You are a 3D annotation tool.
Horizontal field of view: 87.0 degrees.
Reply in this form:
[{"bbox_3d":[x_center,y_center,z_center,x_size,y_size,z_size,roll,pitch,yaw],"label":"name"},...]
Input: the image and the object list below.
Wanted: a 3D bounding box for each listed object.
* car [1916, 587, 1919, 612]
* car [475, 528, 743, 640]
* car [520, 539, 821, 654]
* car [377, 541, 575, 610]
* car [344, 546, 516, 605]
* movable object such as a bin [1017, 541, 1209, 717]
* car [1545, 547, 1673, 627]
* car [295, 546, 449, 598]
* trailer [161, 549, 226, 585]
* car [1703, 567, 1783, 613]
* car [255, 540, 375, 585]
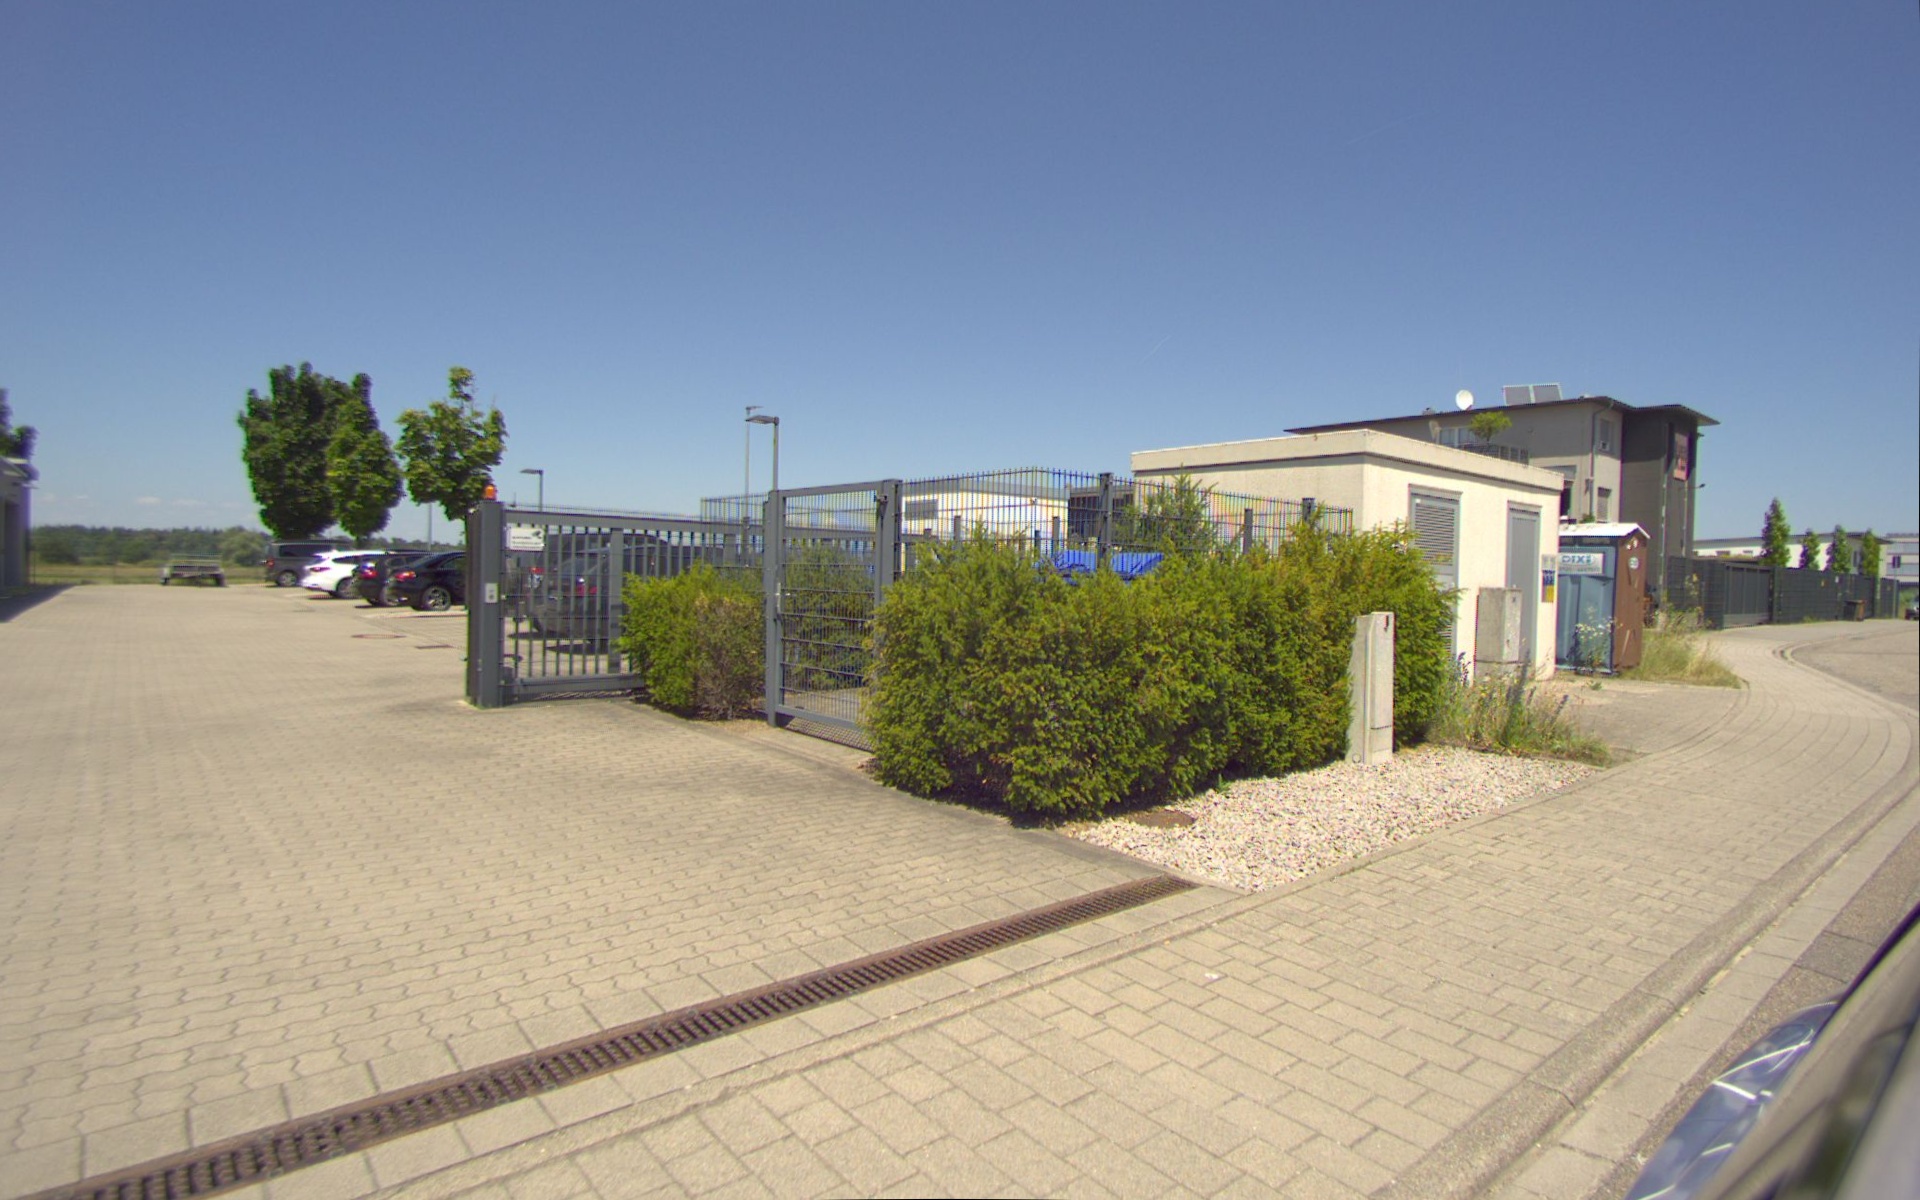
[{"bbox_3d":[51.445,0.018,52.800,3.817,1.292,1.828,0,2,-40],"label":"car"},{"bbox_3d":[-5.931,-0.340,17.335,3.931,1.698,1.859,-3,4,-41],"label":"car"},{"bbox_3d":[-4.260,-0.153,15.209,3.931,1.507,1.859,-3,4,-41],"label":"car"},{"bbox_3d":[-11.556,-0.643,24.266,3.931,1.523,1.859,-3,4,-41],"label":"car"},{"bbox_3d":[-14.758,-0.741,28.287,3.931,1.523,1.859,-3,4,-41],"label":"car"},{"bbox_3d":[1.464,0.222,9.778,1.150,1.541,1.386,0,2,-41],"label":"movable object such as a bin"},{"bbox_3d":[19.263,-0.399,29.951,4.696,2.188,1.918,0,1,-41],"label":"car"},{"bbox_3d":[-18.510,-0.929,31.934,3.931,1.523,1.859,-3,4,-41],"label":"car"},{"bbox_3d":[-31.027,-1.346,40.925,1.964,1.371,3.997,0,2,-39],"label":"trailer"},{"bbox_3d":[32.978,-0.441,42.596,3.931,1.817,1.927,0,2,-42],"label":"car"},{"bbox_3d":[-27.639,-1.652,43.412,4.115,1.822,1.859,-3,4,-41],"label":"car"}]
